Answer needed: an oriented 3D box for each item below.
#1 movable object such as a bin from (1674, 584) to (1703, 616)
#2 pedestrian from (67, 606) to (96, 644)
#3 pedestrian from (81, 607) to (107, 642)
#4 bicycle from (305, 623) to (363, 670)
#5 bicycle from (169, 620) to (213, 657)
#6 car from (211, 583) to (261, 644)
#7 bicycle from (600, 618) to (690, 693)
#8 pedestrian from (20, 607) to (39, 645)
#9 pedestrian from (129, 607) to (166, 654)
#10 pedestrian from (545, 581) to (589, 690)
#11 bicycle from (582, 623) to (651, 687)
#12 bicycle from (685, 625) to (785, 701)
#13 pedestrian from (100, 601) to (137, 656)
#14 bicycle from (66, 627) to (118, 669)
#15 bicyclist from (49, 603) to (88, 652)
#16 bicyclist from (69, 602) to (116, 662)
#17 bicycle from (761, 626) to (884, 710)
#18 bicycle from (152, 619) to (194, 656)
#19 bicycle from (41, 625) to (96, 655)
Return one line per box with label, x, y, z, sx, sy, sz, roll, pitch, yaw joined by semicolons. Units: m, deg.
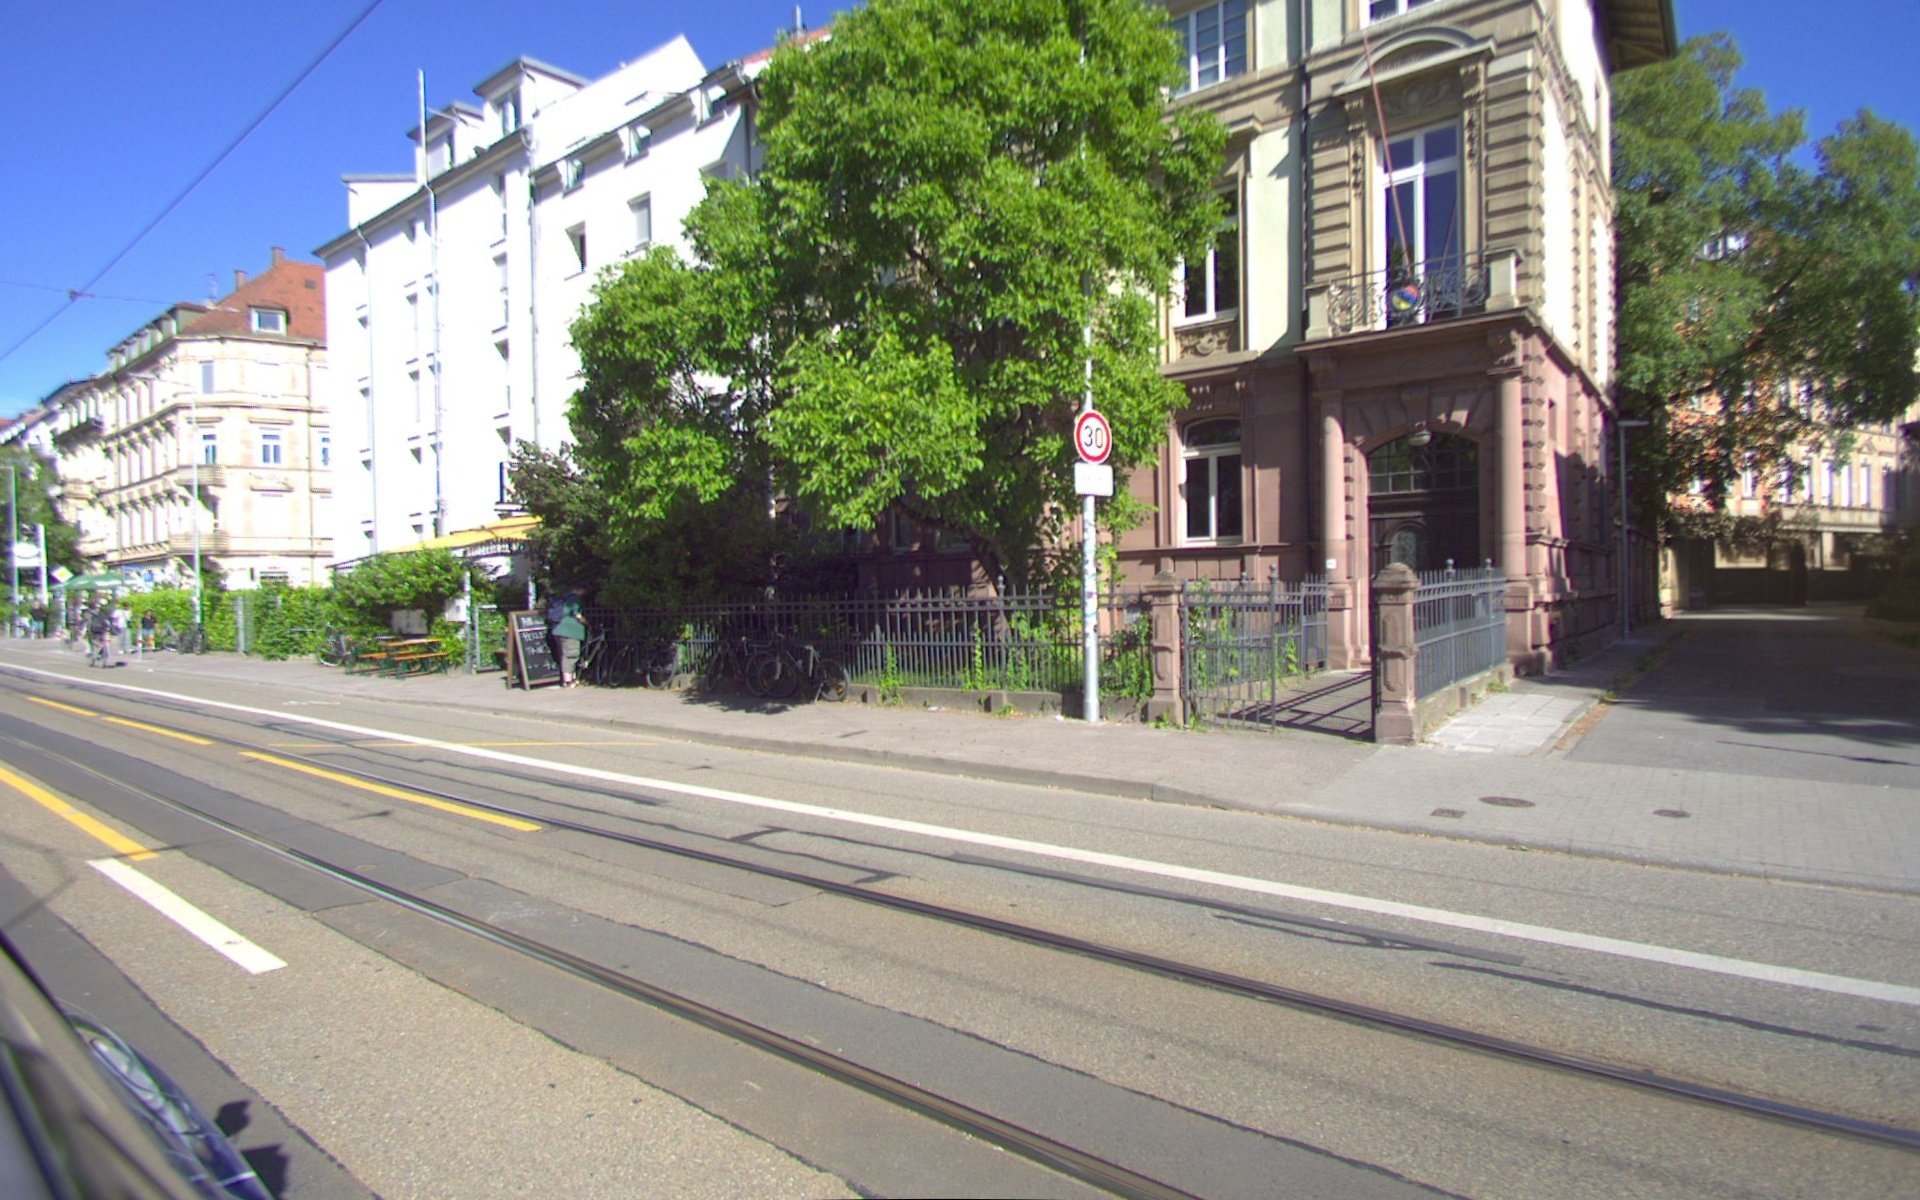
movable object such as a bin;27.005;-0.009;37.522;0.701;1.166;1.119;-1;0;44
pedestrian;-41.609;1.163;47.926;0.682;1.781;0.868;-1;0;-12
pedestrian;-41.940;1.177;49.007;0.694;1.667;0.835;0;1;-20
bicycle;-15.213;1.117;24.586;1.741;1.067;0.632;-1;2;40
bicycle;-24.555;1.213;32.323;1.838;1.097;0.655;0;4;39
car;-35.610;0.600;49.874;1.861;2.862;4.796;0;1;-34
bicycle;-5.332;0.904;17.074;0.638;1.152;1.907;-4;2;-43
pedestrian;-45.063;1.250;49.021;0.538;1.795;0.552;-1;0;35
pedestrian;-27.290;1.014;33.996;0.956;1.489;0.747;-1;2;39
pedestrian;-6.842;0.606;17.610;0.567;1.845;0.691;-1;0;-32
bicycle;-6.185;0.955;18.159;0.628;1.053;2.027;-1;0;-35
bicycle;-3.480;0.930;15.514;0.583;1.053;1.907;-3;1;-43
pedestrian;-27.789;0.931;33.414;0.807;1.726;0.747;-1;2;39
bicycle;-23.667;1.306;27.586;1.897;1.090;0.737;-1;-3;40
bicyclist;-34.373;1.043;39.034;0.695;1.867;0.988;0;1;-8
bicyclist;-23.696;0.876;27.635;1.117;1.612;0.737;-1;-3;40
bicycle;-1.946;0.917;14.120;1.904;1.053;0.583;-1;2;42
bicycle;-26.076;1.231;33.538;1.838;1.097;0.655;0;4;39
bicycle;-34.375;1.532;39.030;0.695;1.063;1.839;0;1;-8
